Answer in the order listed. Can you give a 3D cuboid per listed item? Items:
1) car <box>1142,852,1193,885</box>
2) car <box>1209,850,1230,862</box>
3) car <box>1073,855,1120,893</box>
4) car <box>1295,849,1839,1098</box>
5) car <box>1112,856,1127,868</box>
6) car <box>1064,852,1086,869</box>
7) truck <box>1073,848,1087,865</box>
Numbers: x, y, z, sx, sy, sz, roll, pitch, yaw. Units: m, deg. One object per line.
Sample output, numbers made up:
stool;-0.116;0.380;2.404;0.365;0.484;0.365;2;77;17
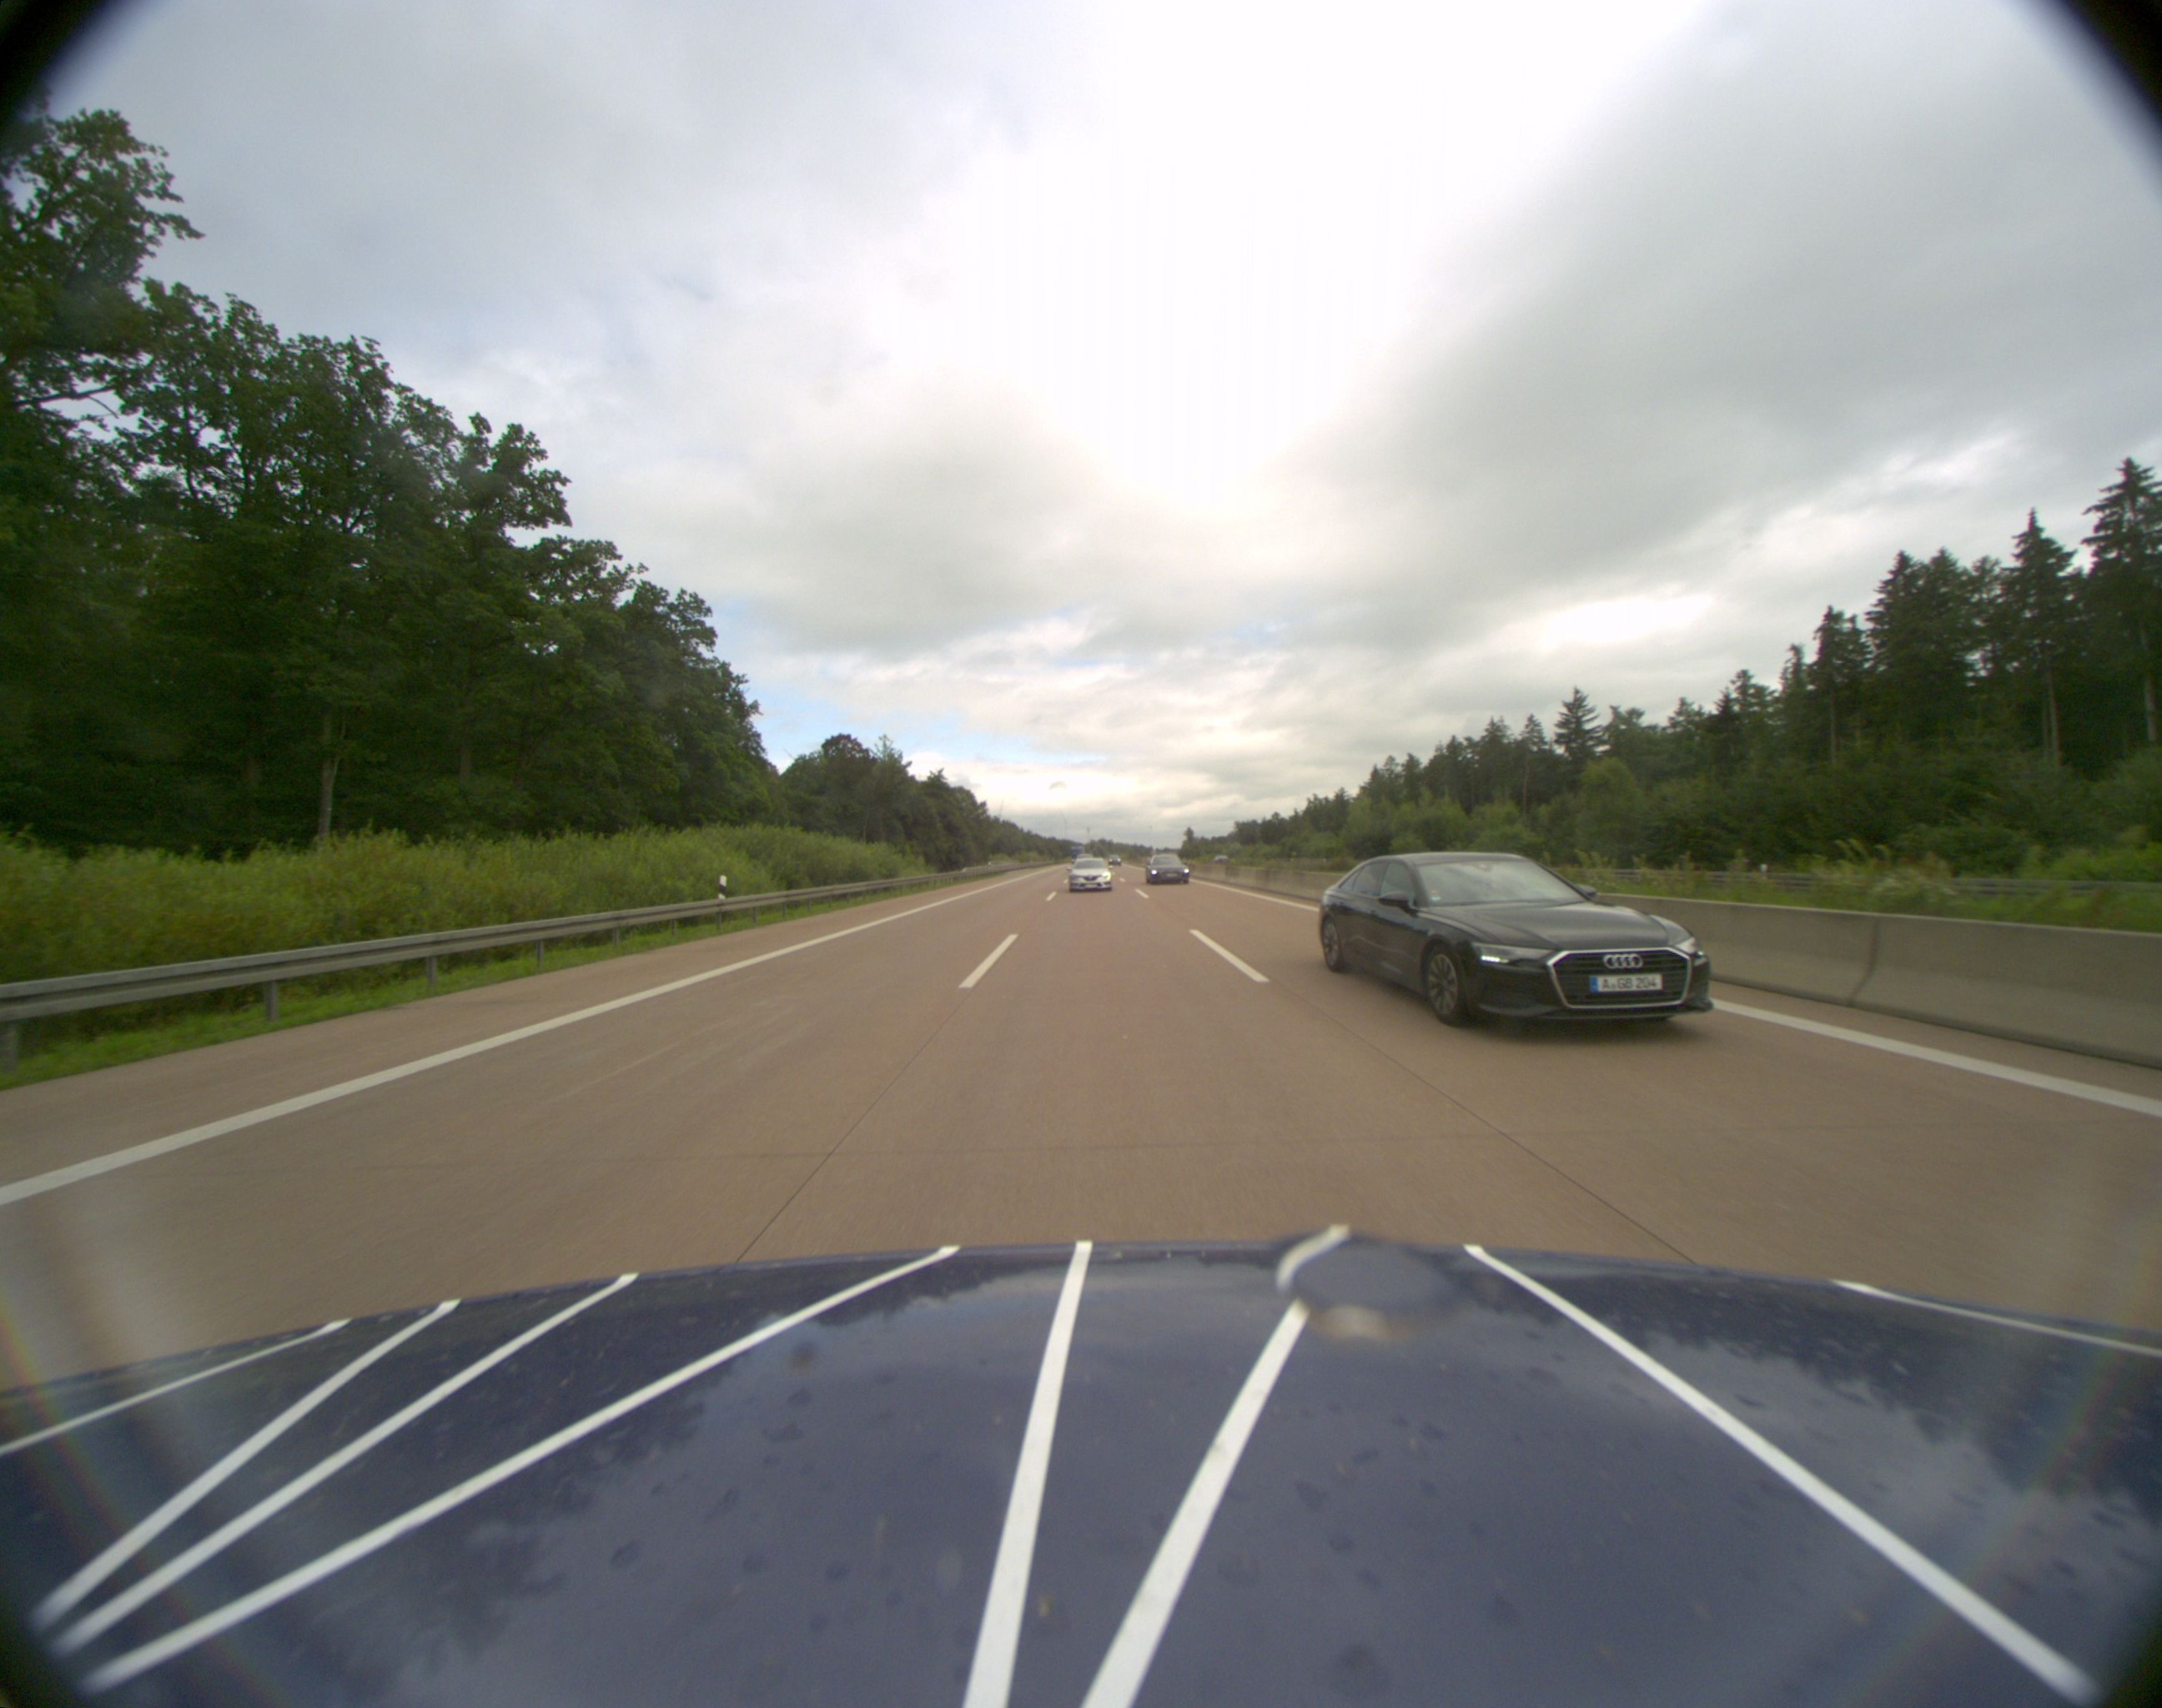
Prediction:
car;4.413;0.691;39.480;2.064;1.483;5.452;-2;0;1
car;19.812;0.300;109.102;2.129;1.582;5.197;-1;0;1
car;0.735;0.838;33.581;1.923;1.516;4.001;-2;0;3
car;3.923;0.769;7.742;2.090;1.541;5.675;-3;0;3
car;5.814;1.206;114.305;1.998;1.689;5.252;-2;1;1
car;-0.559;0.630;73.596;1.986;1.499;4.052;-2;0;1
truck;-0.211;0.494;178.970;2.956;3.705;7.949;-5;0;1
